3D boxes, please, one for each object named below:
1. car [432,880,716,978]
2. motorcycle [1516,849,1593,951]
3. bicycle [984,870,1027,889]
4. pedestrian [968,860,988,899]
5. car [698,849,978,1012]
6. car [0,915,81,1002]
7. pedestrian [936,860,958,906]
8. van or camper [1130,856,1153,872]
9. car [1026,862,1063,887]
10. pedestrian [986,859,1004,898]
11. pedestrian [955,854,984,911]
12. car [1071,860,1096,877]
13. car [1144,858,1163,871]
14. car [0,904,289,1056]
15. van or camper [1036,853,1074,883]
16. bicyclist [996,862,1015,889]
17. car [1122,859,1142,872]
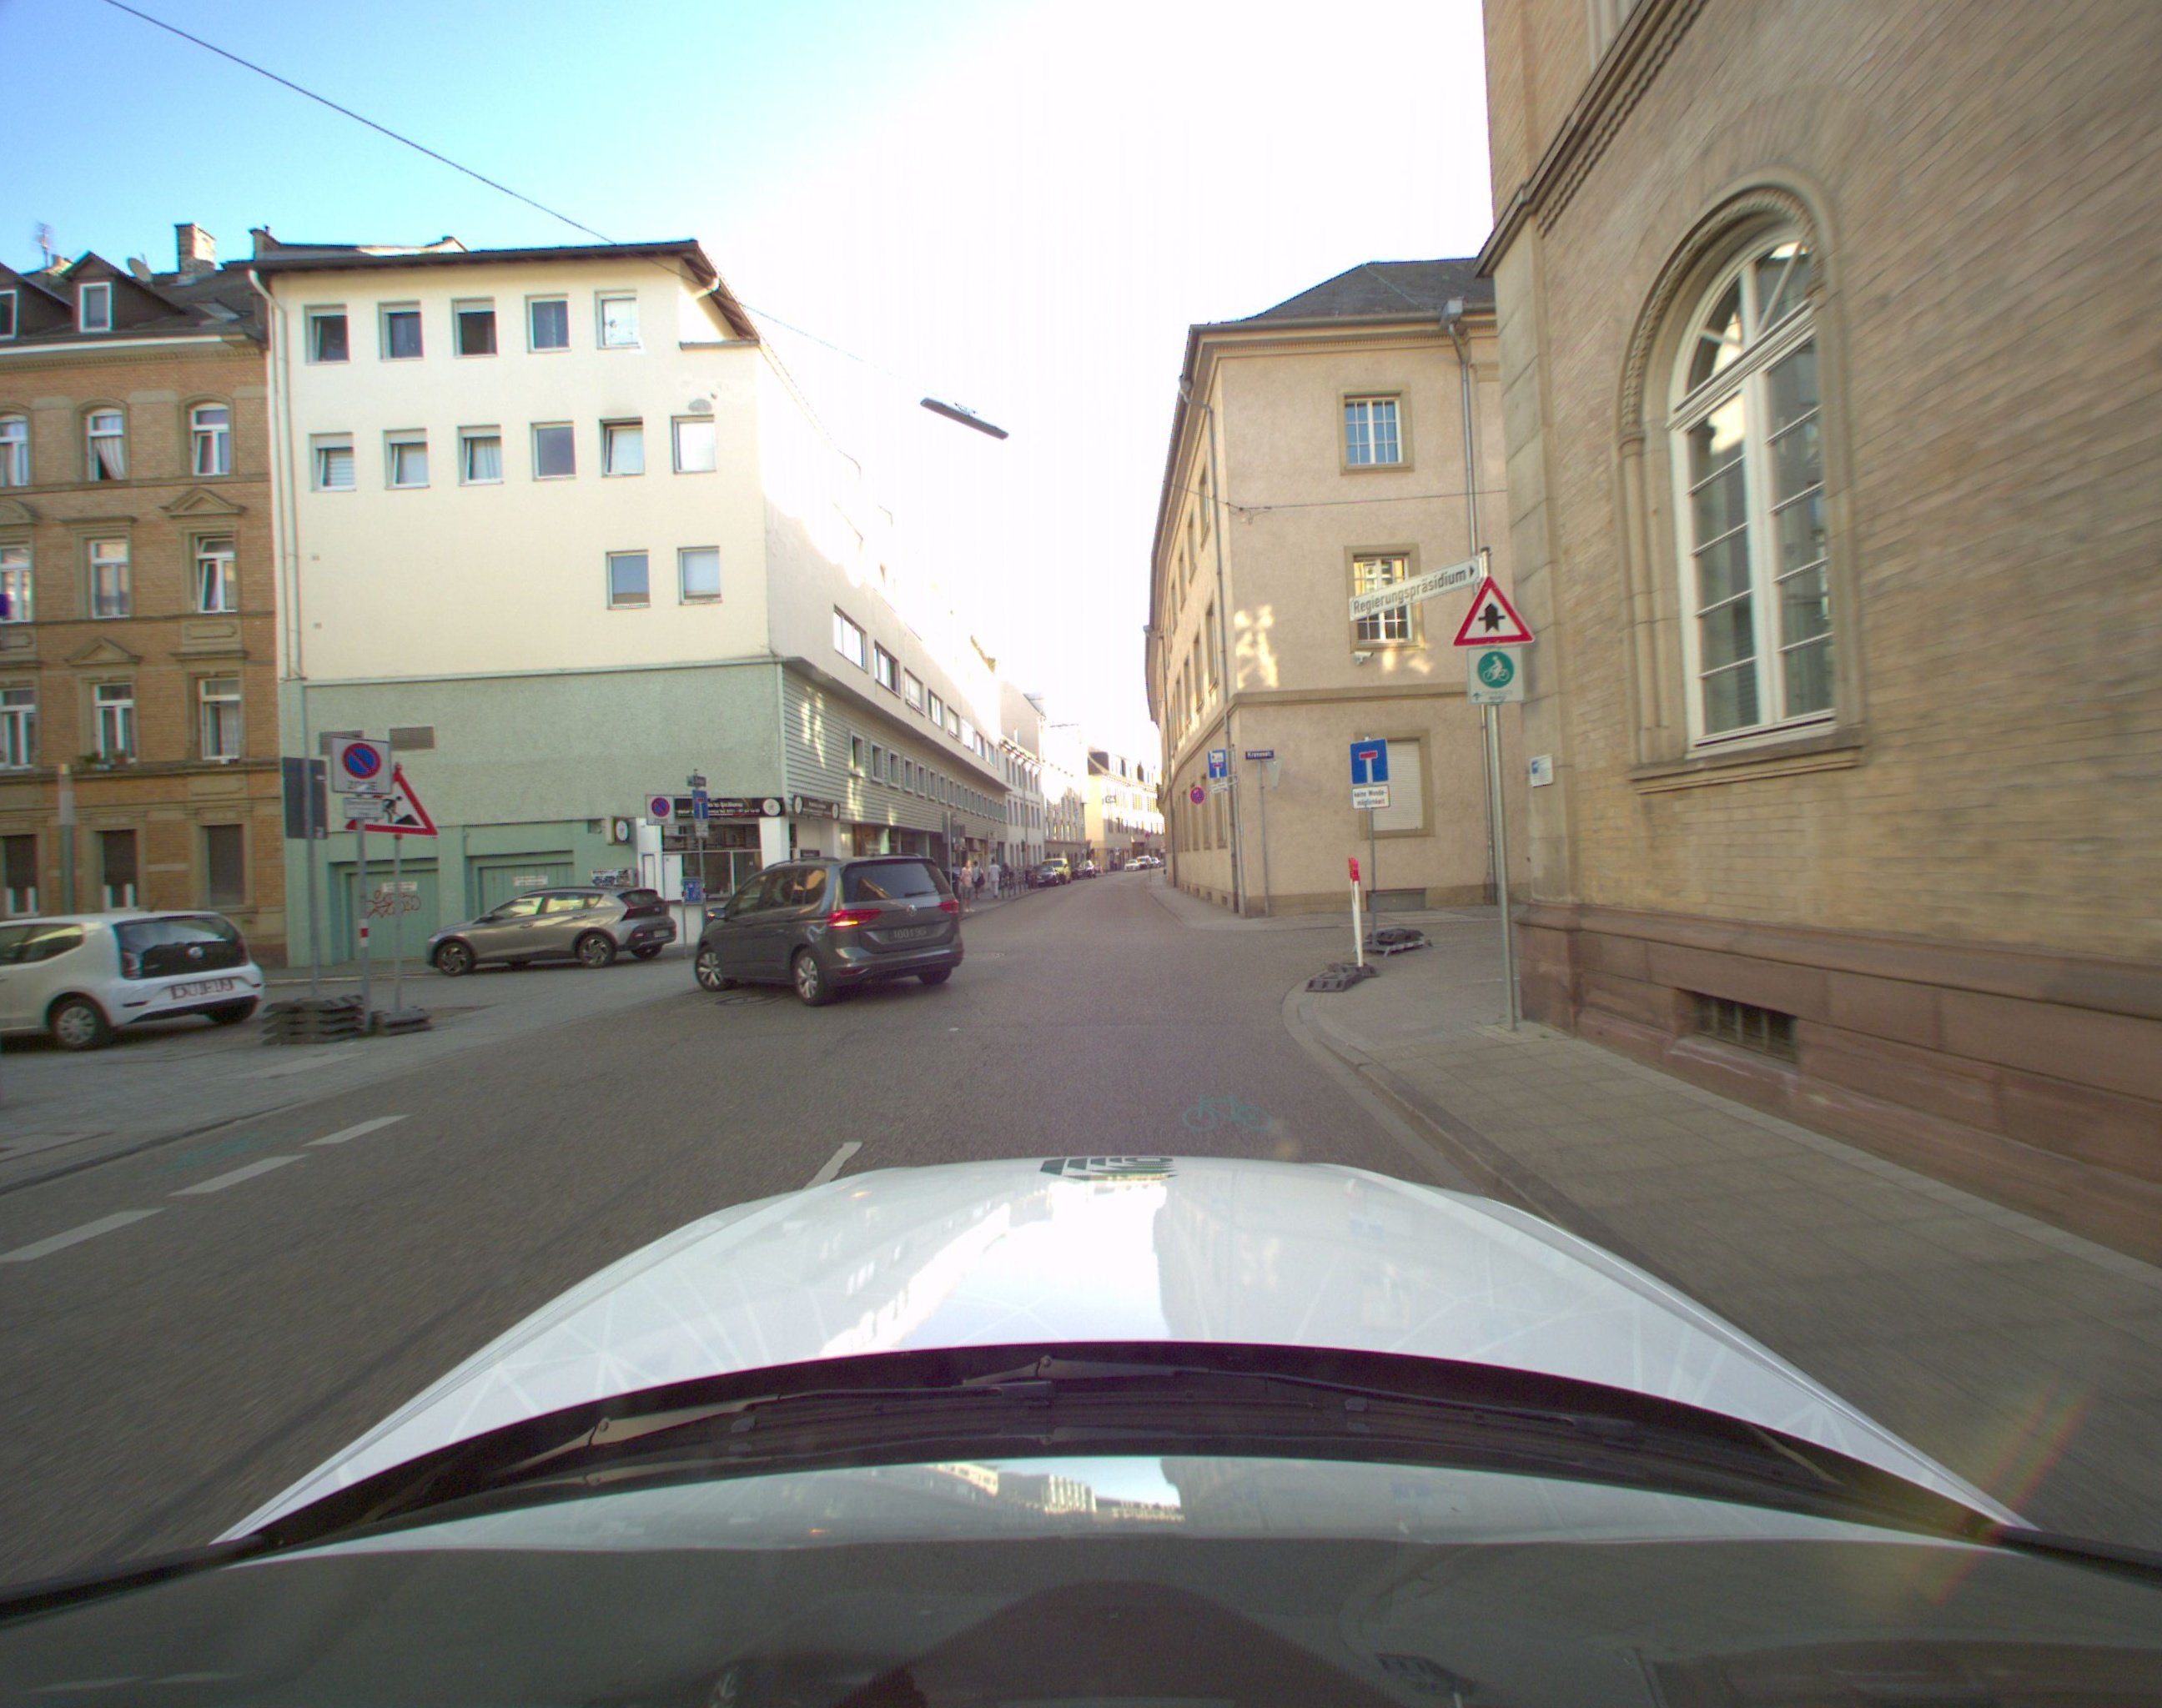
[{"bbox_3d":[-9.468,1.369,15.460,4.082,1.443,1.949,-3,0,2],"label":"car"},{"bbox_3d":[6.537,0.582,11.183,0.662,1.244,2.205,-3,-1,35],"label":"motorcycle"},{"bbox_3d":[-4.622,1.588,50.011,2.517,1.054,0.838,-3,0,26],"label":"bicycle"},{"bbox_3d":[-4.578,1.116,36.205,0.709,1.684,0.480,-3,-1,1],"label":"pedestrian"},{"bbox_3d":[-3.183,0.803,10.152,1.777,1.607,3.951,-1,-1,-42],"label":"car"},{"bbox_3d":[-21.750,2.043,15.158,4.033,1.501,1.724,-2,0,-1],"label":"car"},{"bbox_3d":[-5.462,1.162,33.135,0.726,1.829,0.557,-3,-1,0],"label":"pedestrian"},{"bbox_3d":[8.286,1.326,111.342,1.978,2.013,5.020,-3,0,17],"label":"van or camper"},{"bbox_3d":[-2.363,1.337,53.485,1.856,1.468,3.840,-3,0,6],"label":"car"},{"bbox_3d":[-3.830,1.078,36.318,0.660,1.684,0.480,-3,-1,1],"label":"pedestrian"},{"bbox_3d":[-3.690,0.941,27.001,0.550,1.829,0.735,-3,-1,24],"label":"pedestrian"},{"bbox_3d":[0.254,1.321,75.392,1.856,1.468,3.840,-3,0,6],"label":"car"},{"bbox_3d":[10.531,1.466,117.619,1.811,1.726,4.019,-3,-1,18],"label":"car"},{"bbox_3d":[-11.988,1.459,9.597,3.487,1.443,1.814,-3,0,2],"label":"car"},{"bbox_3d":[-1.826,1.009,59.221,1.983,2.013,4.491,-3,-1,7],"label":"van or camper"},{"bbox_3d":[-4.635,1.311,50.027,0.750,1.561,0.838,-3,-1,26],"label":"bicyclist"},{"bbox_3d":[6.668,1.504,105.614,1.721,1.468,4.016,-3,-1,15],"label":"car"}]
